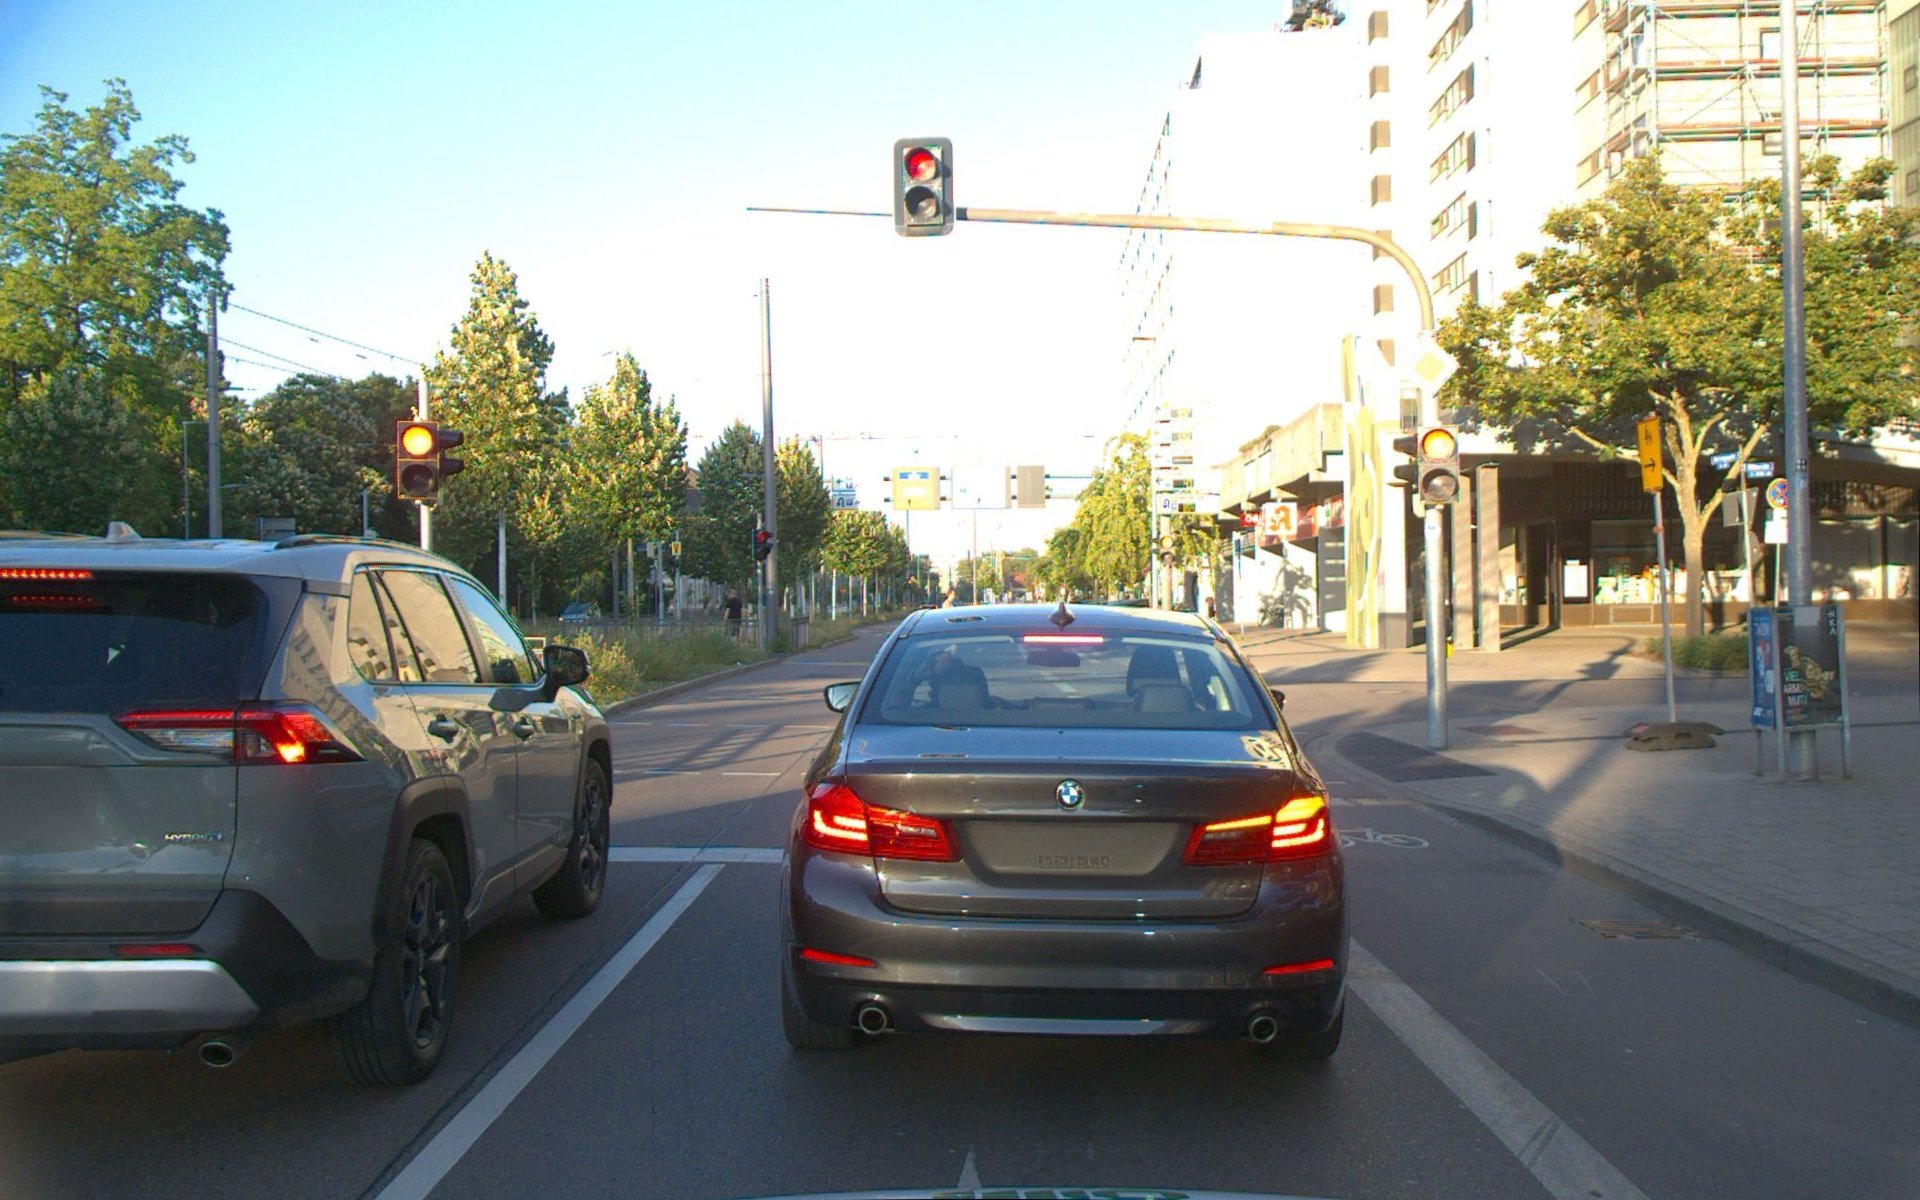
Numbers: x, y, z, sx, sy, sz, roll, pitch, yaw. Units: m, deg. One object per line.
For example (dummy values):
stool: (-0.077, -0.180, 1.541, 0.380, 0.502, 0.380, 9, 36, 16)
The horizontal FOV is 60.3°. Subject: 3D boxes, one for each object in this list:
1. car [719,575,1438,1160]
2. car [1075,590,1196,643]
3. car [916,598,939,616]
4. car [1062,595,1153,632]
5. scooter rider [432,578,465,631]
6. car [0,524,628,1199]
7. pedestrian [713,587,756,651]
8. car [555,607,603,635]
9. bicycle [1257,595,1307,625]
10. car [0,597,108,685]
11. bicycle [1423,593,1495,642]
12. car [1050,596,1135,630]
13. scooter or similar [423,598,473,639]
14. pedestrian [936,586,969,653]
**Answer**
car: (0.380, 0.674, 6.642, 1.892, 1.507, 4.524, 0, 1, 2)
car: (6.027, 0.535, 56.567, 4.234, 1.687, 1.831, -1, 1, -43)
car: (-2.868, 0.610, 146.889, 1.938, 1.458, 4.843, 0, 1, 0)
car: (7.068, 0.621, 79.163, 4.221, 1.687, 1.837, 0, 1, -36)
scooter rider: (-14.973, 0.129, 48.378, 0.810, 1.540, 0.647, -1, 0, -26)
car: (-2.498, 0.612, 6.176, 1.817, 1.687, 4.267, 0, 1, -2)
pedestrian: (-5.829, 0.489, 42.735, 0.803, 1.614, 0.827, -1, 0, -35)
car: (-21.121, 1.148, 91.746, 1.763, 1.507, 3.783, -1, 0, 0)
bicycle: (13.474, 0.426, 69.158, 1.974, 1.169, 0.691, 2, -1, 6)
car: (-25.872, 1.082, 45.464, 1.951, 2.206, 4.755, 0, 1, 8)
bicycle: (12.510, 0.438, 41.517, 0.678, 1.169, 2.012, 2, -1, -18)
car: (6.860, 0.650, 85.242, 4.219, 1.687, 1.838, 0, 1, -36)
scooter or similar: (-14.960, 0.529, 48.345, 1.313, 1.173, 0.509, -1, 0, -26)
pedestrian: (-0.210, 0.507, 43.200, 0.818, 1.742, 0.647, -1, 0, -2)
